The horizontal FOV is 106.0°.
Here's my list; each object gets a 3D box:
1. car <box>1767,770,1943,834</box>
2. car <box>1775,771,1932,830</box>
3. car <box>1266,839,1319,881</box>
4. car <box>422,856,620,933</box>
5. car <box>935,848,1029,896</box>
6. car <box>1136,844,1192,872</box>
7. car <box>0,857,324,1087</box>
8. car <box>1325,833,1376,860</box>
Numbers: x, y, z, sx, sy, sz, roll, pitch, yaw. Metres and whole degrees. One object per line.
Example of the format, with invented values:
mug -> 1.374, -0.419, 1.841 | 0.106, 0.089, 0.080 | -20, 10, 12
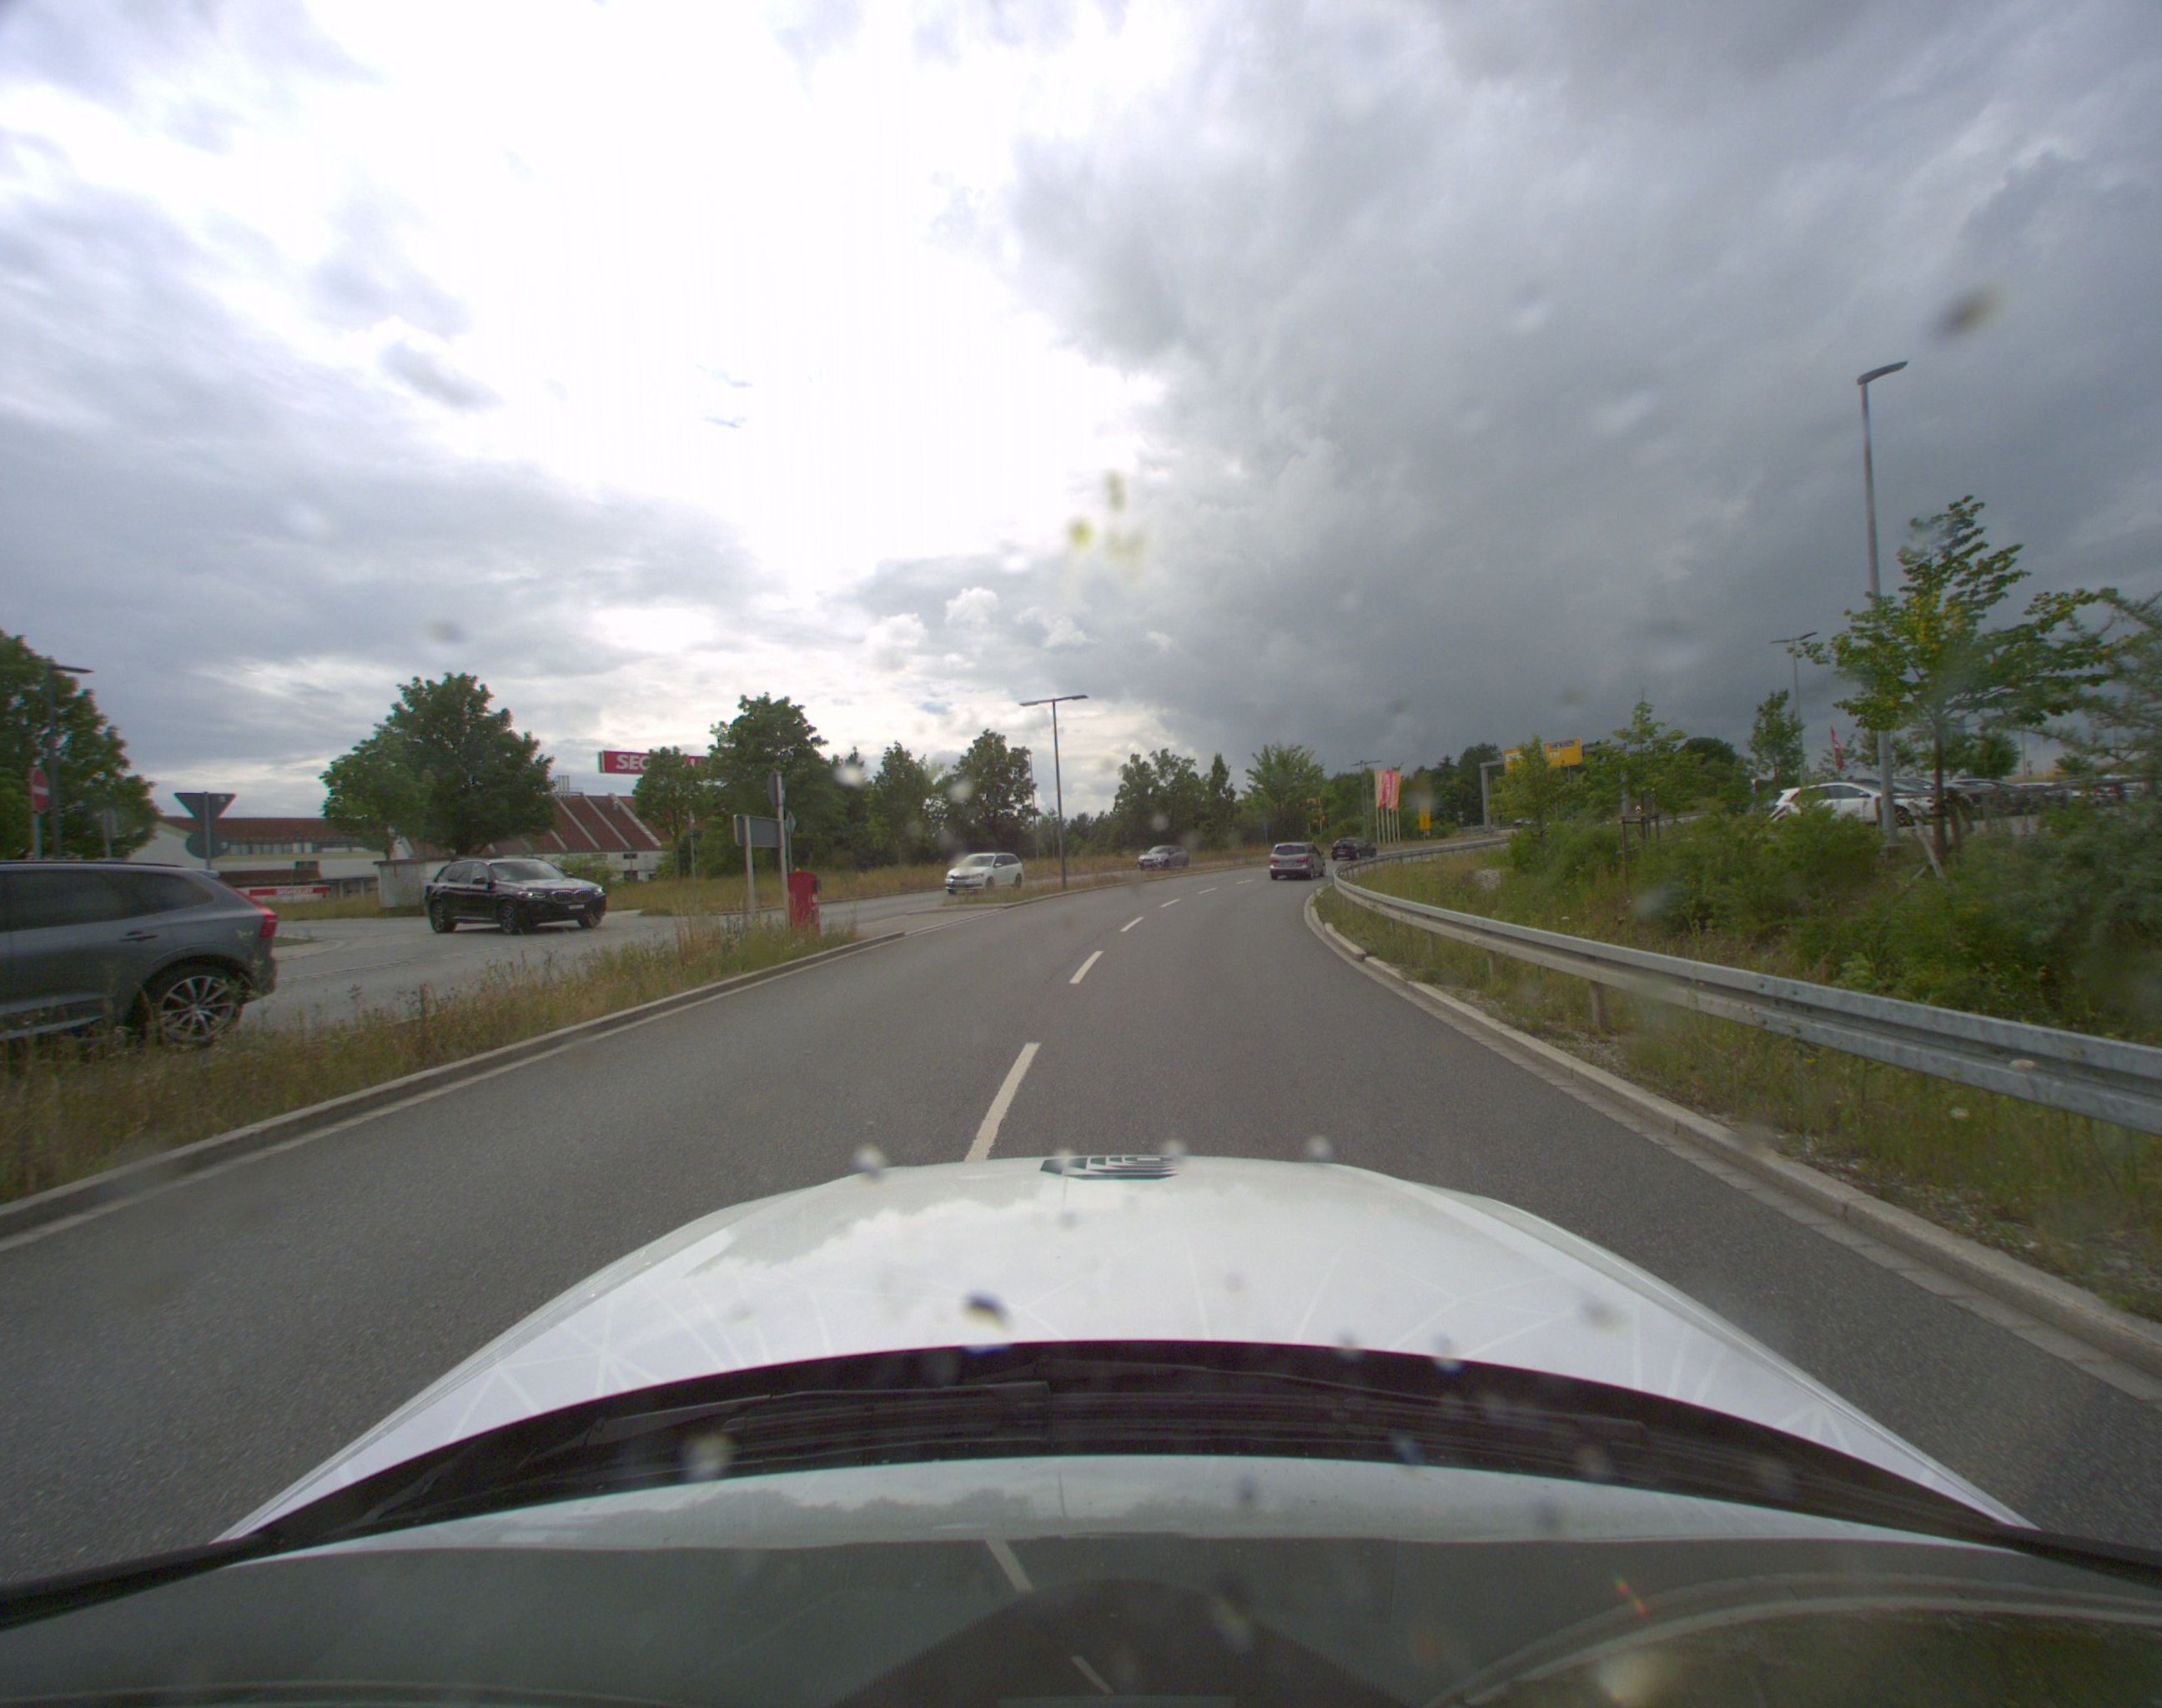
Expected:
car -> 23.967, -1.583, 25.347 | 1.650, 1.538, 3.590 | -4, -2, -32
car -> 25.720, -1.753, 27.217 | 1.738, 1.635, 3.411 | -3, 0, -31
car -> 9.326, 0.321, 35.728 | 1.752, 1.617, 3.940 | -5, -4, 20
car -> -12.742, 0.907, 18.501 | 4.202, 1.550, 1.885 | -2, 0, 27
car -> -3.645, 0.632, 30.848 | 1.700, 1.634, 4.289 | -2, 0, 20
car -> 4.926, 0.209, 48.127 | 1.444, 1.486, 4.122 | -2, 0, 34
car -> -8.585, 0.844, 5.775 | 1.801, 1.629, 4.693 | 0, 0, 5
car -> 17.655, -0.510, 53.265 | 1.851, 1.605, 3.758 | -2, 0, 39
